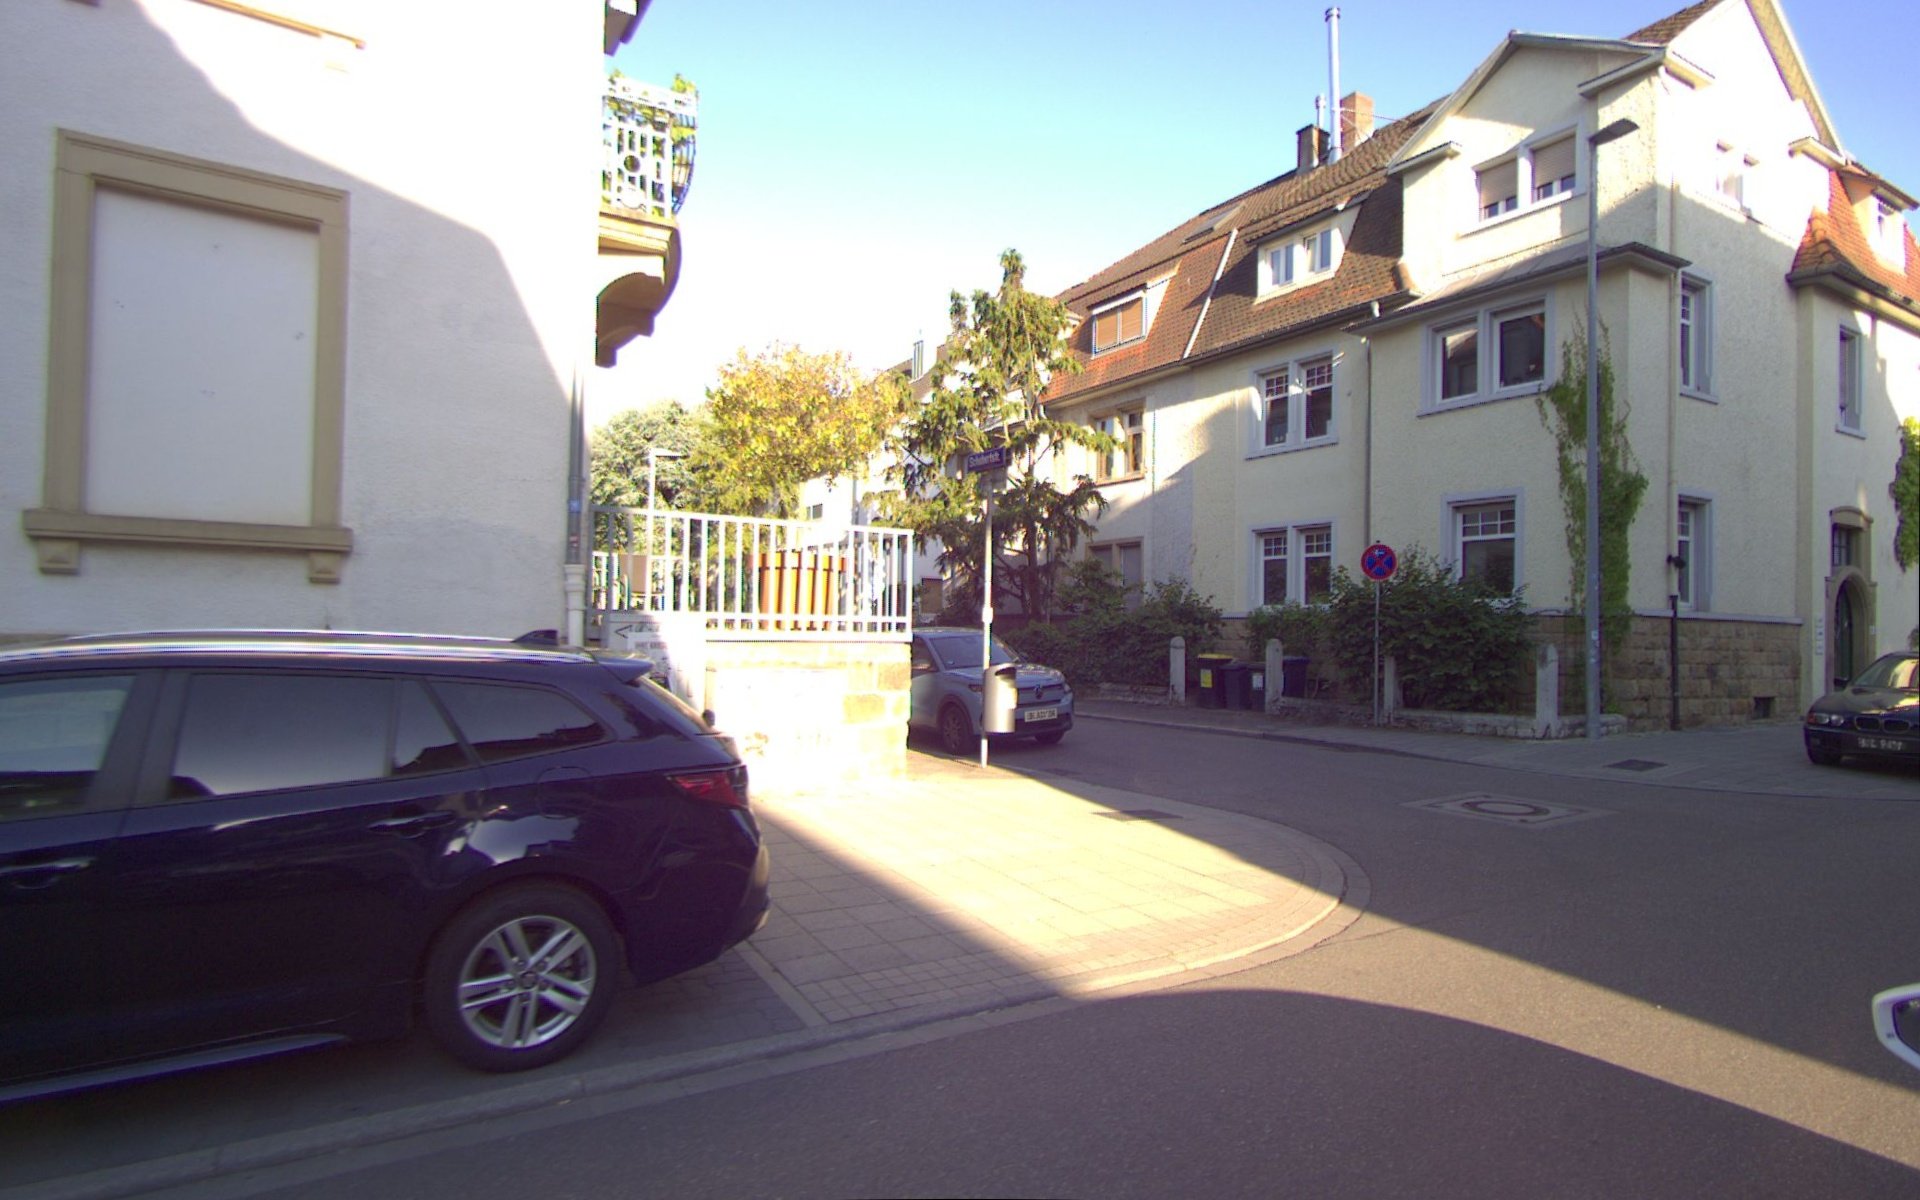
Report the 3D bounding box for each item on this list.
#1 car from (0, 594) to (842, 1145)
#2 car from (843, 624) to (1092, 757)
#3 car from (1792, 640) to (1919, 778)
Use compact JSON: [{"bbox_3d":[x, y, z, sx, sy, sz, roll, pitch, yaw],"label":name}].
[{"bbox_3d":[-2.865,0.741,3.517,4.576,1.473,1.645,2,-1,-30],"label":"car"},{"bbox_3d":[-0.021,1.145,14.224,1.743,1.580,3.739,1,-1,-34],"label":"car"},{"bbox_3d":[12.470,1.322,12.660,4.583,1.489,1.700,3,-1,-32],"label":"car"}]
